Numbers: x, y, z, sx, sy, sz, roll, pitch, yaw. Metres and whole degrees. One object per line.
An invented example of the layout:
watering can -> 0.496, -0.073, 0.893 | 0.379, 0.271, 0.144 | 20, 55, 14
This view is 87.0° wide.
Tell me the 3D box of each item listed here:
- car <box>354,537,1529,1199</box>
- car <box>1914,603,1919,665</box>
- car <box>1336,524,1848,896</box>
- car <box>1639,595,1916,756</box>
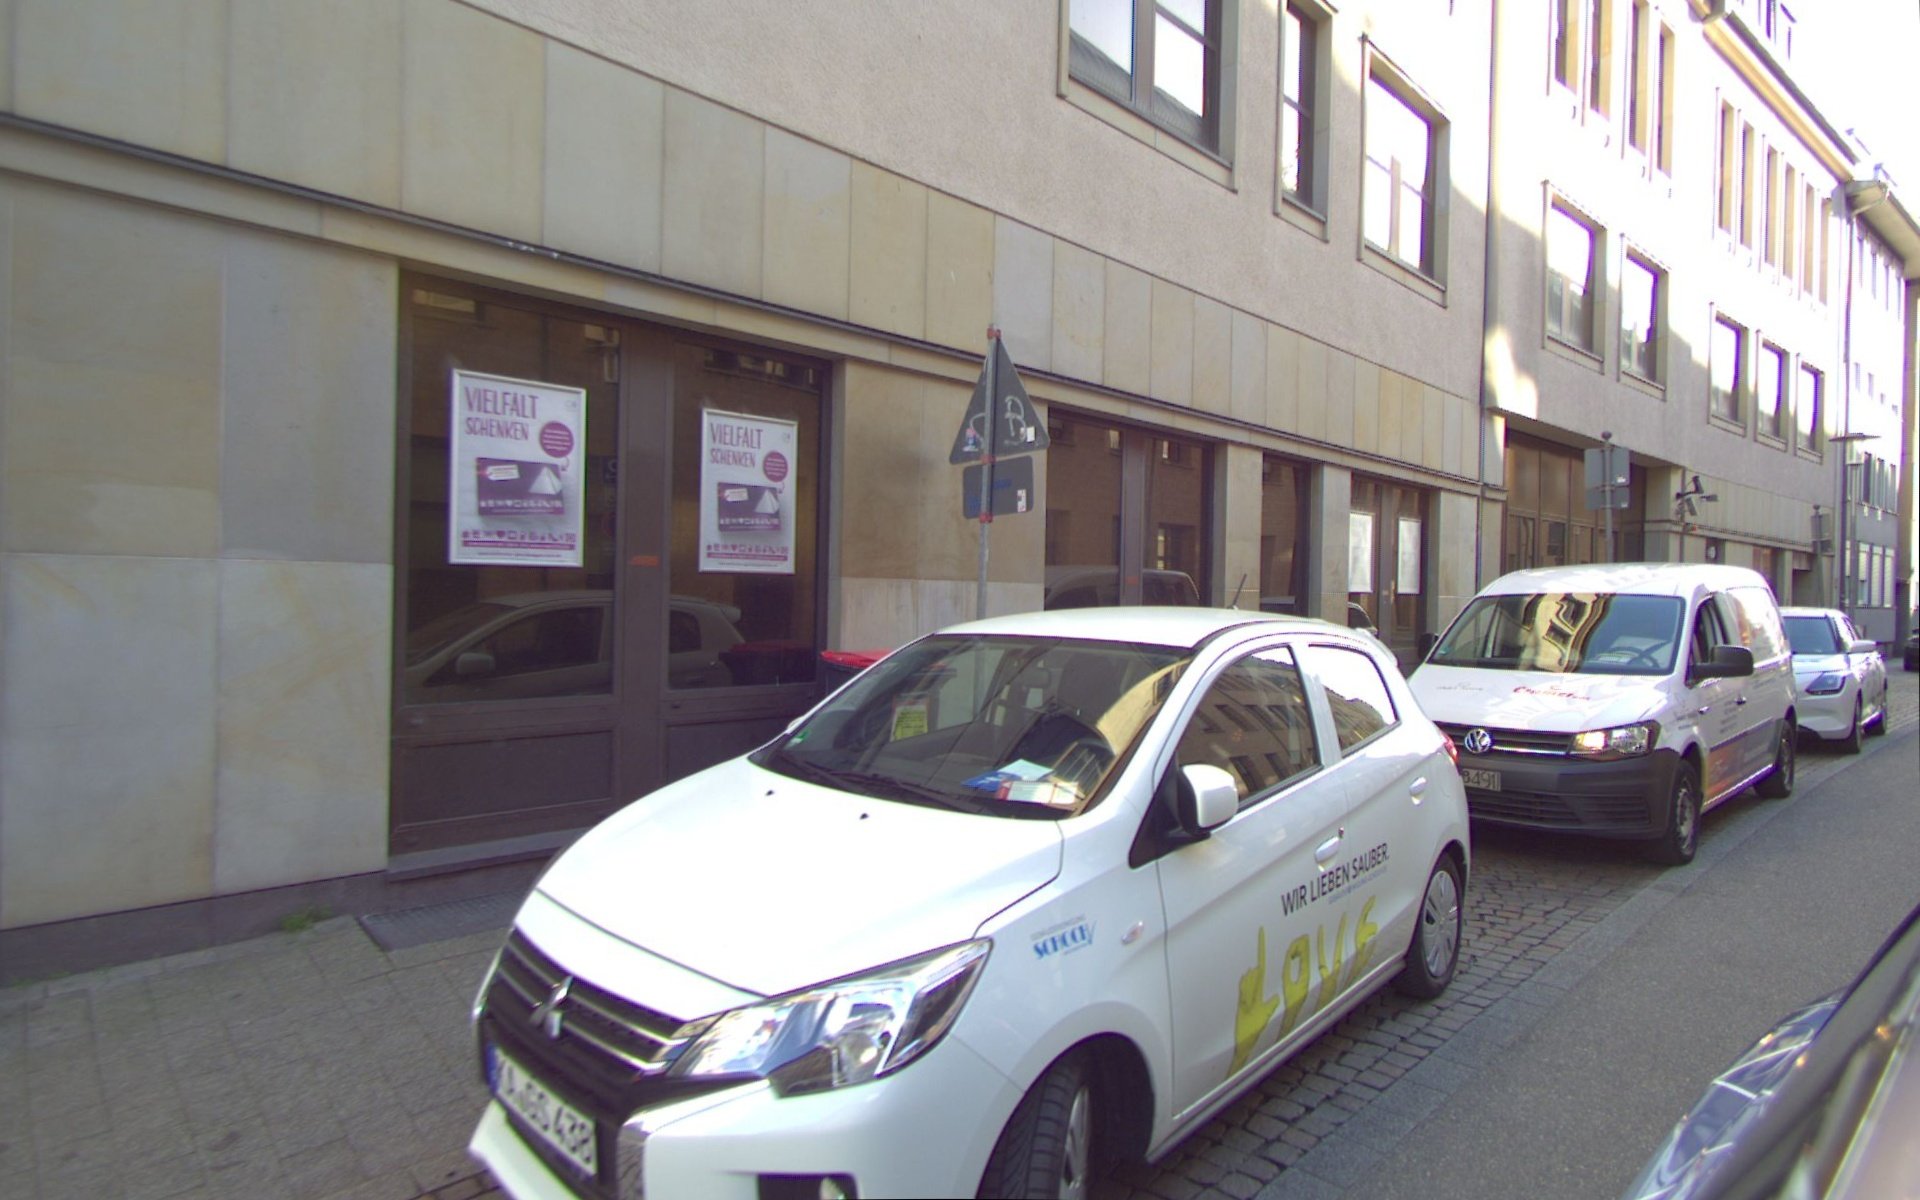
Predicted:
car -> 0.404, 0.676, 3.552 | 1.888, 1.537, 3.999 | 1, 0, 43
car -> 25.297, 0.814, 24.889 | 5.129, 1.471, 1.899 | 1, -1, -38
car -> 4.854, 0.539, 7.356 | 5.124, 1.813, 1.833 | 0, 0, -42
car -> 9.422, 0.737, 11.544 | 4.096, 1.497, 1.842 | 1, -2, -42
